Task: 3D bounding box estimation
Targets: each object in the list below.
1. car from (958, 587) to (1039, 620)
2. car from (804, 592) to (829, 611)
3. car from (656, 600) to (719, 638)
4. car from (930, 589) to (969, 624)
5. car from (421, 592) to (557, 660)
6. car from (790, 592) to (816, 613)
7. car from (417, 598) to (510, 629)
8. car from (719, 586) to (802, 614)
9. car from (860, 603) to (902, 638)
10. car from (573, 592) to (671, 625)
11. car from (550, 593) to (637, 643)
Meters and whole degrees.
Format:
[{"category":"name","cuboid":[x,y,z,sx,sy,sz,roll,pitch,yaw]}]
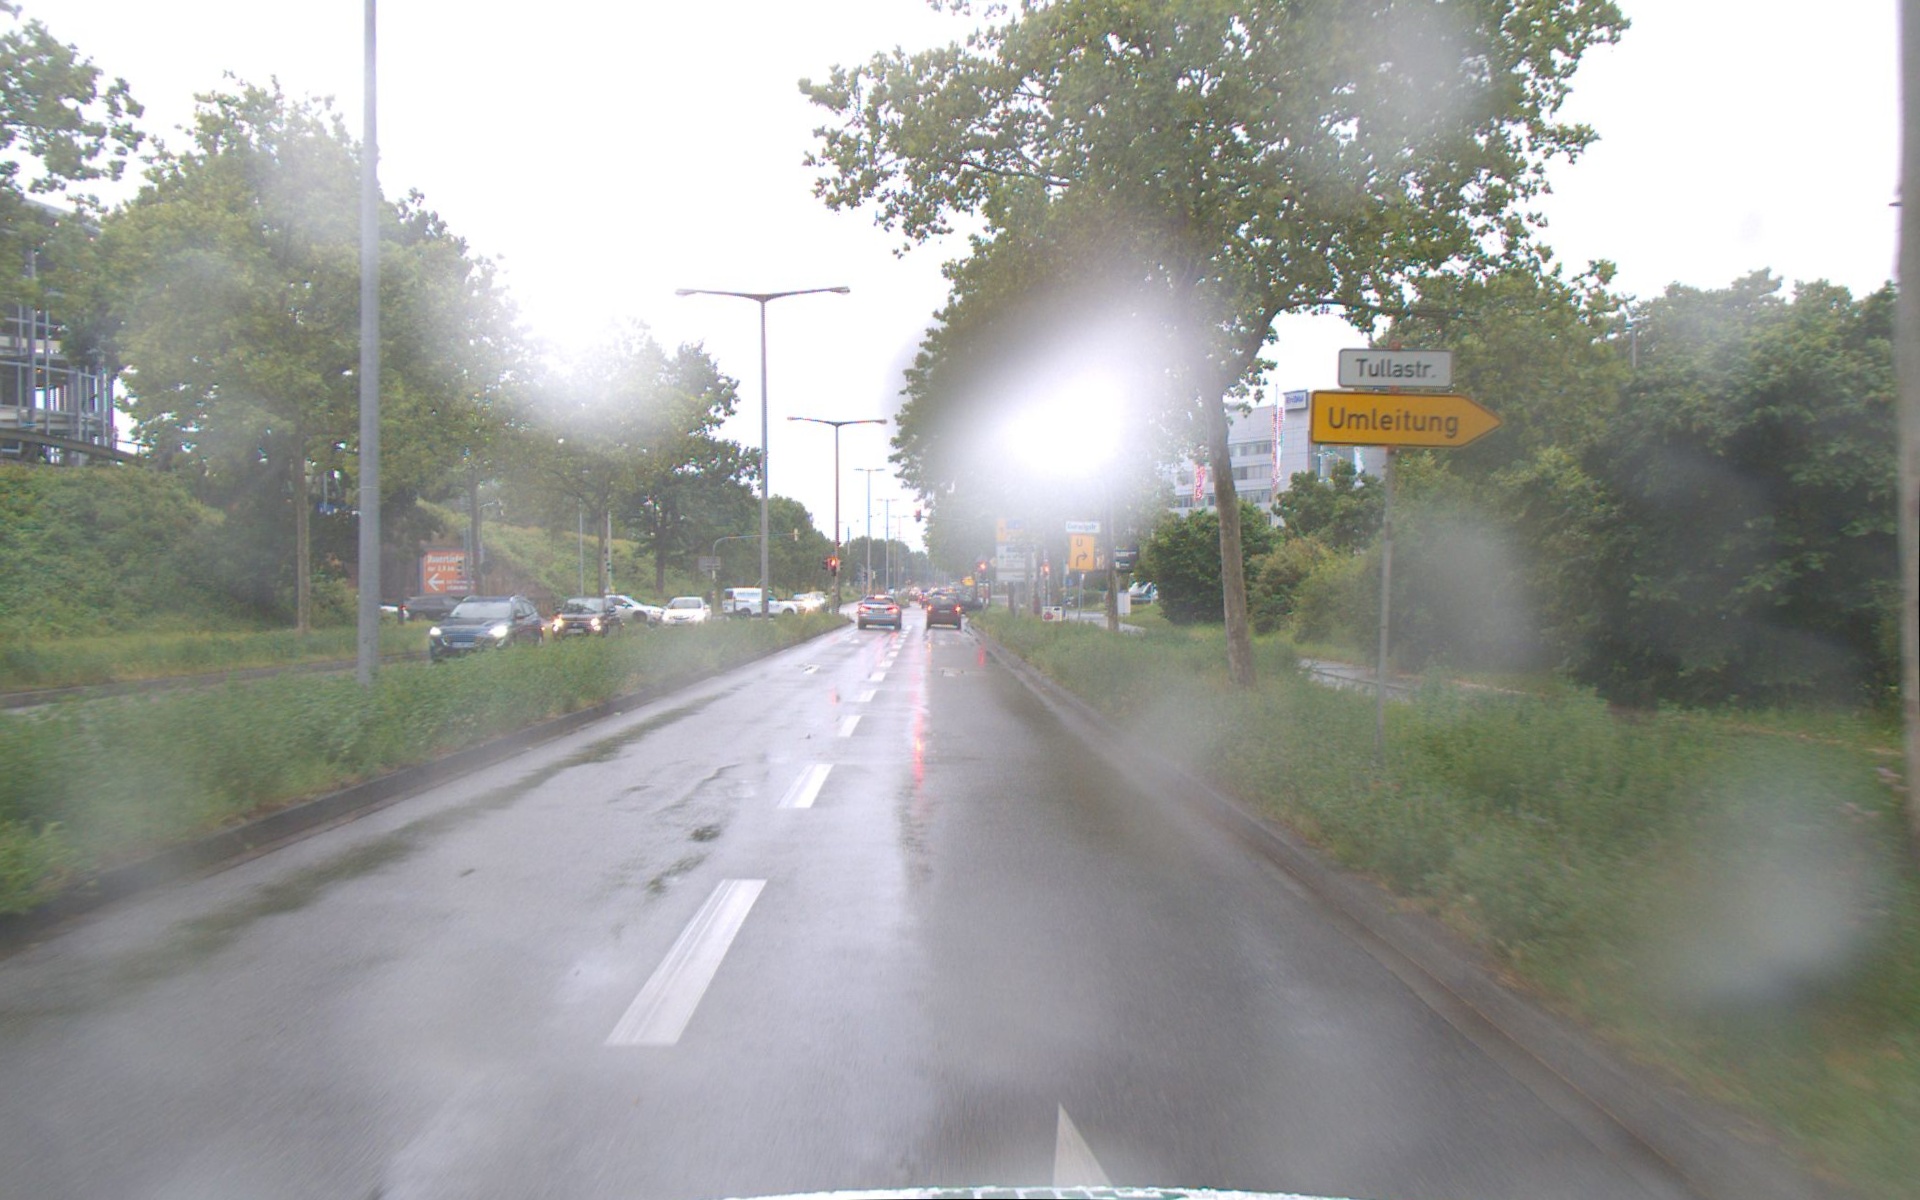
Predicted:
[{"category":"car","cuboid":[2.137,0.164,90.330,4.348,1.563,1.776,-3,3,-41]},{"category":"car","cuboid":[-11.657,0.126,134.307,1.677,1.557,3.999,0,0,-1]},{"category":"car","cuboid":[-11.255,0.775,68.564,1.892,1.470,4.656,0,0,-1]},{"category":"car","cuboid":[-0.512,0.292,79.107,1.759,1.564,4.386,1,0,-1]},{"category":"car","cuboid":[-10.744,0.554,38.068,1.892,1.470,4.495,0,0,-1]},{"category":"car","cuboid":[-12.045,0.187,127.021,1.677,1.557,3.999,0,0,-1]},{"category":"car","cuboid":[-25.651,0.676,85.508,4.326,1.564,1.784,0,0,-30]},{"category":"car","cuboid":[-11.333,-0.026,94.057,4.327,1.564,1.784,0,0,-30]},{"category":"car","cuboid":[-3.447,0.877,72.354,1.655,1.458,4.573,1,0,-1]},{"category":"car","cuboid":[-16.644,0.413,81.612,4.410,1.617,1.863,-1,0,1]},{"category":"car","cuboid":[-11.217,0.517,50.850,1.892,1.470,3.706,0,0,-1]}]
